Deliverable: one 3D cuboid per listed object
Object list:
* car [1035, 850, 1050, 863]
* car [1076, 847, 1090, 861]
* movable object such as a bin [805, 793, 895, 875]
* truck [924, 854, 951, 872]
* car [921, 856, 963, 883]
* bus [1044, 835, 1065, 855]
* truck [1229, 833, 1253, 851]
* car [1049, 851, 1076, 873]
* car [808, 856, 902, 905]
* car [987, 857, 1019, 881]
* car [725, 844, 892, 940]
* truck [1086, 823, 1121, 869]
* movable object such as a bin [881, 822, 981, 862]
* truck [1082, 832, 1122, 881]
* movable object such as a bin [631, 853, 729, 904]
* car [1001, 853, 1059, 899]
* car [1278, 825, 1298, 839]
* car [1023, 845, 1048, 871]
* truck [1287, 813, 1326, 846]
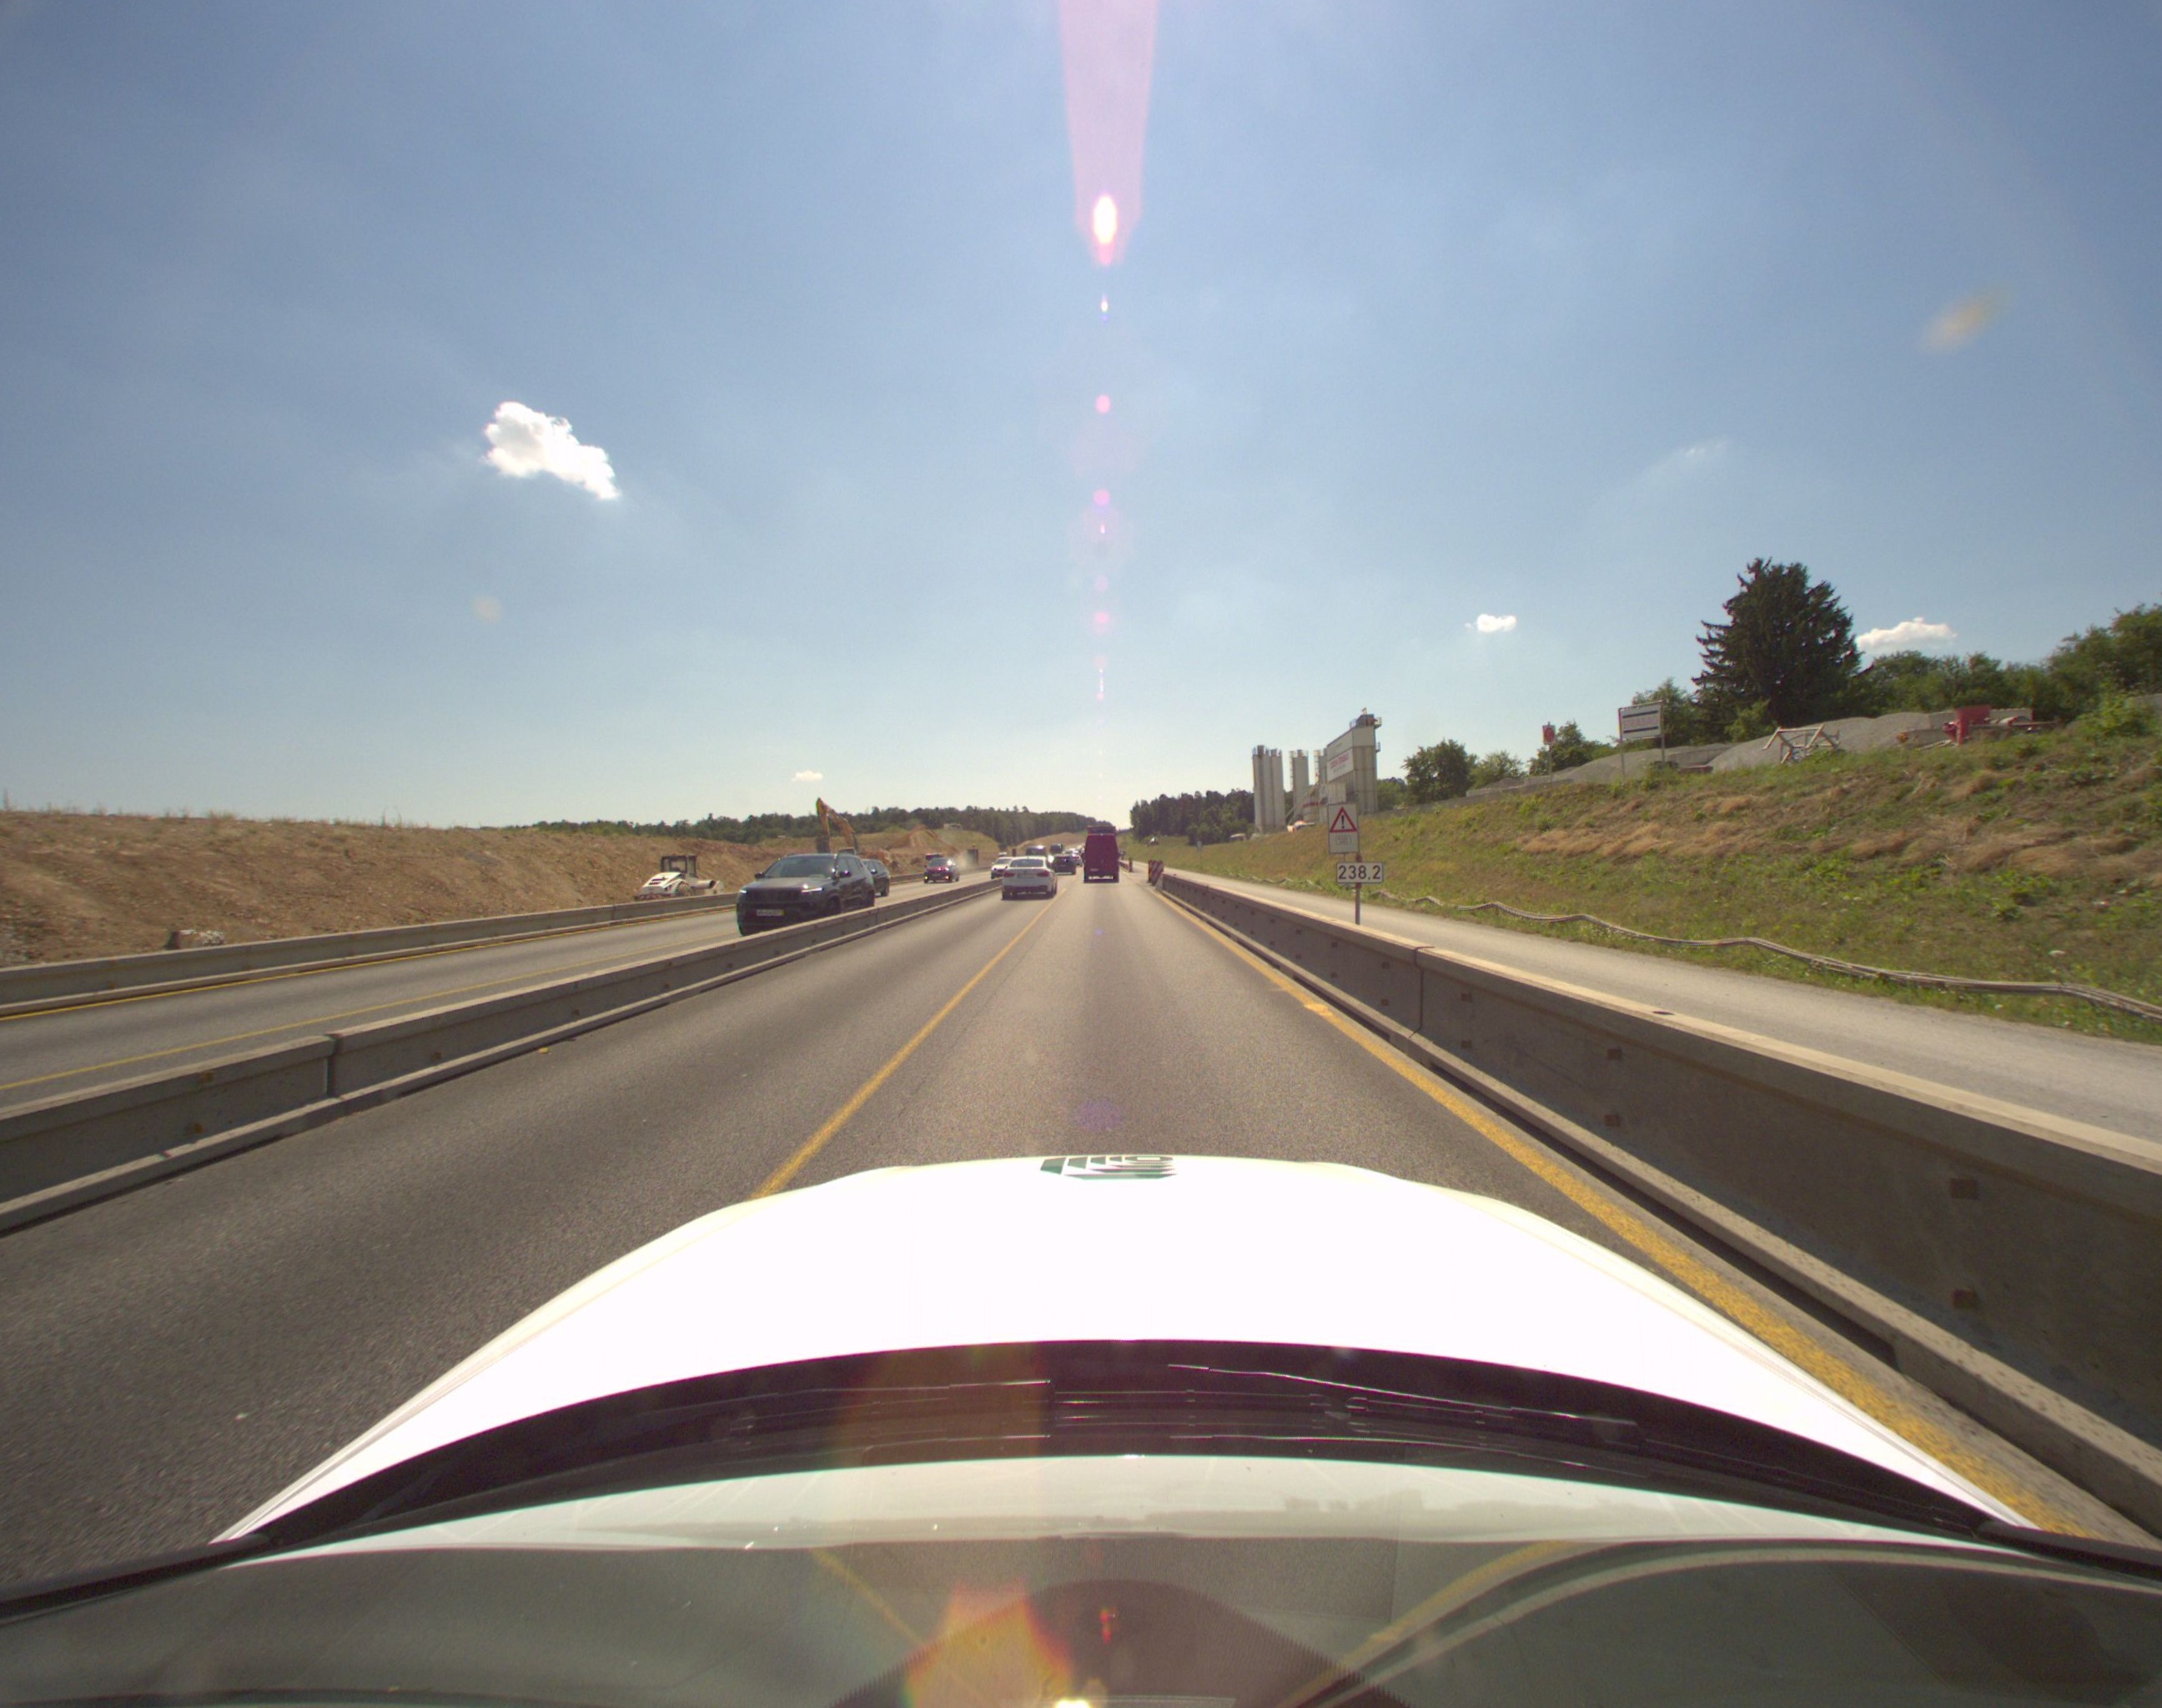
[{"bbox_3d":[-5.875,0.378,125.079,1.986,2.013,4.002,-2,0,2],"label":"car"},{"bbox_3d":[0.353,-0.027,124.752,1.986,2.013,4.002,-2,0,2],"label":"car"},{"bbox_3d":[-22.679,-1.941,80.304,7.606,7.713,3.448,-2,0,2],"label":"movable object such as a bin"},{"bbox_3d":[-21.763,1.320,124.107,2.307,2.617,8.413,-2,0,1],"label":"truck"},{"bbox_3d":[-8.378,0.908,49.418,1.646,1.442,4.228,-2,0,2],"label":"car"},{"bbox_3d":[-6.003,-1.966,186.961,3.929,4.415,17.201,-2,0,1],"label":"bus"},{"bbox_3d":[29.467,-2.241,149.969,2.869,3.113,6.047,-2,0,26],"label":"truck"},{"bbox_3d":[-1.396,0.594,62.628,1.788,1.534,3.933,-2,0,2],"label":"car"},{"bbox_3d":[-7.800,0.865,28.535,1.854,1.501,4.578,-2,0,1],"label":"car"},{"bbox_3d":[-5.145,0.954,54.180,1.673,1.442,4.671,-2,0,0],"label":"car"},{"bbox_3d":[-5.655,0.700,17.687,1.765,1.741,5.040,-2,0,1],"label":"car"},{"bbox_3d":[2.225,-0.711,78.889,3.004,4.153,8.276,-2,0,2],"label":"truck"},{"bbox_3d":[-29.297,-2.293,159.328,18.655,7.231,3.614,-2,0,-1],"label":"movable object such as a bin"},{"bbox_3d":[1.239,0.136,47.433,2.103,2.633,6.487,-2,0,2],"label":"truck"},{"bbox_3d":[-21.346,1.227,43.801,1.695,2.461,6.746,-2,0,2],"label":"movable object such as a bin"},{"bbox_3d":[-1.829,0.758,30.580,1.789,1.534,5.073,-1,0,1],"label":"car"},{"bbox_3d":[31.728,-3.385,125.200,1.986,2.013,4.429,-2,0,1],"label":"car"},{"bbox_3d":[-4.522,0.409,81.157,1.948,2.468,5.359,-2,0,1],"label":"car"},{"bbox_3d":[31.718,-3.414,115.068,3.419,4.296,9.942,-2,0,5],"label":"truck"}]
